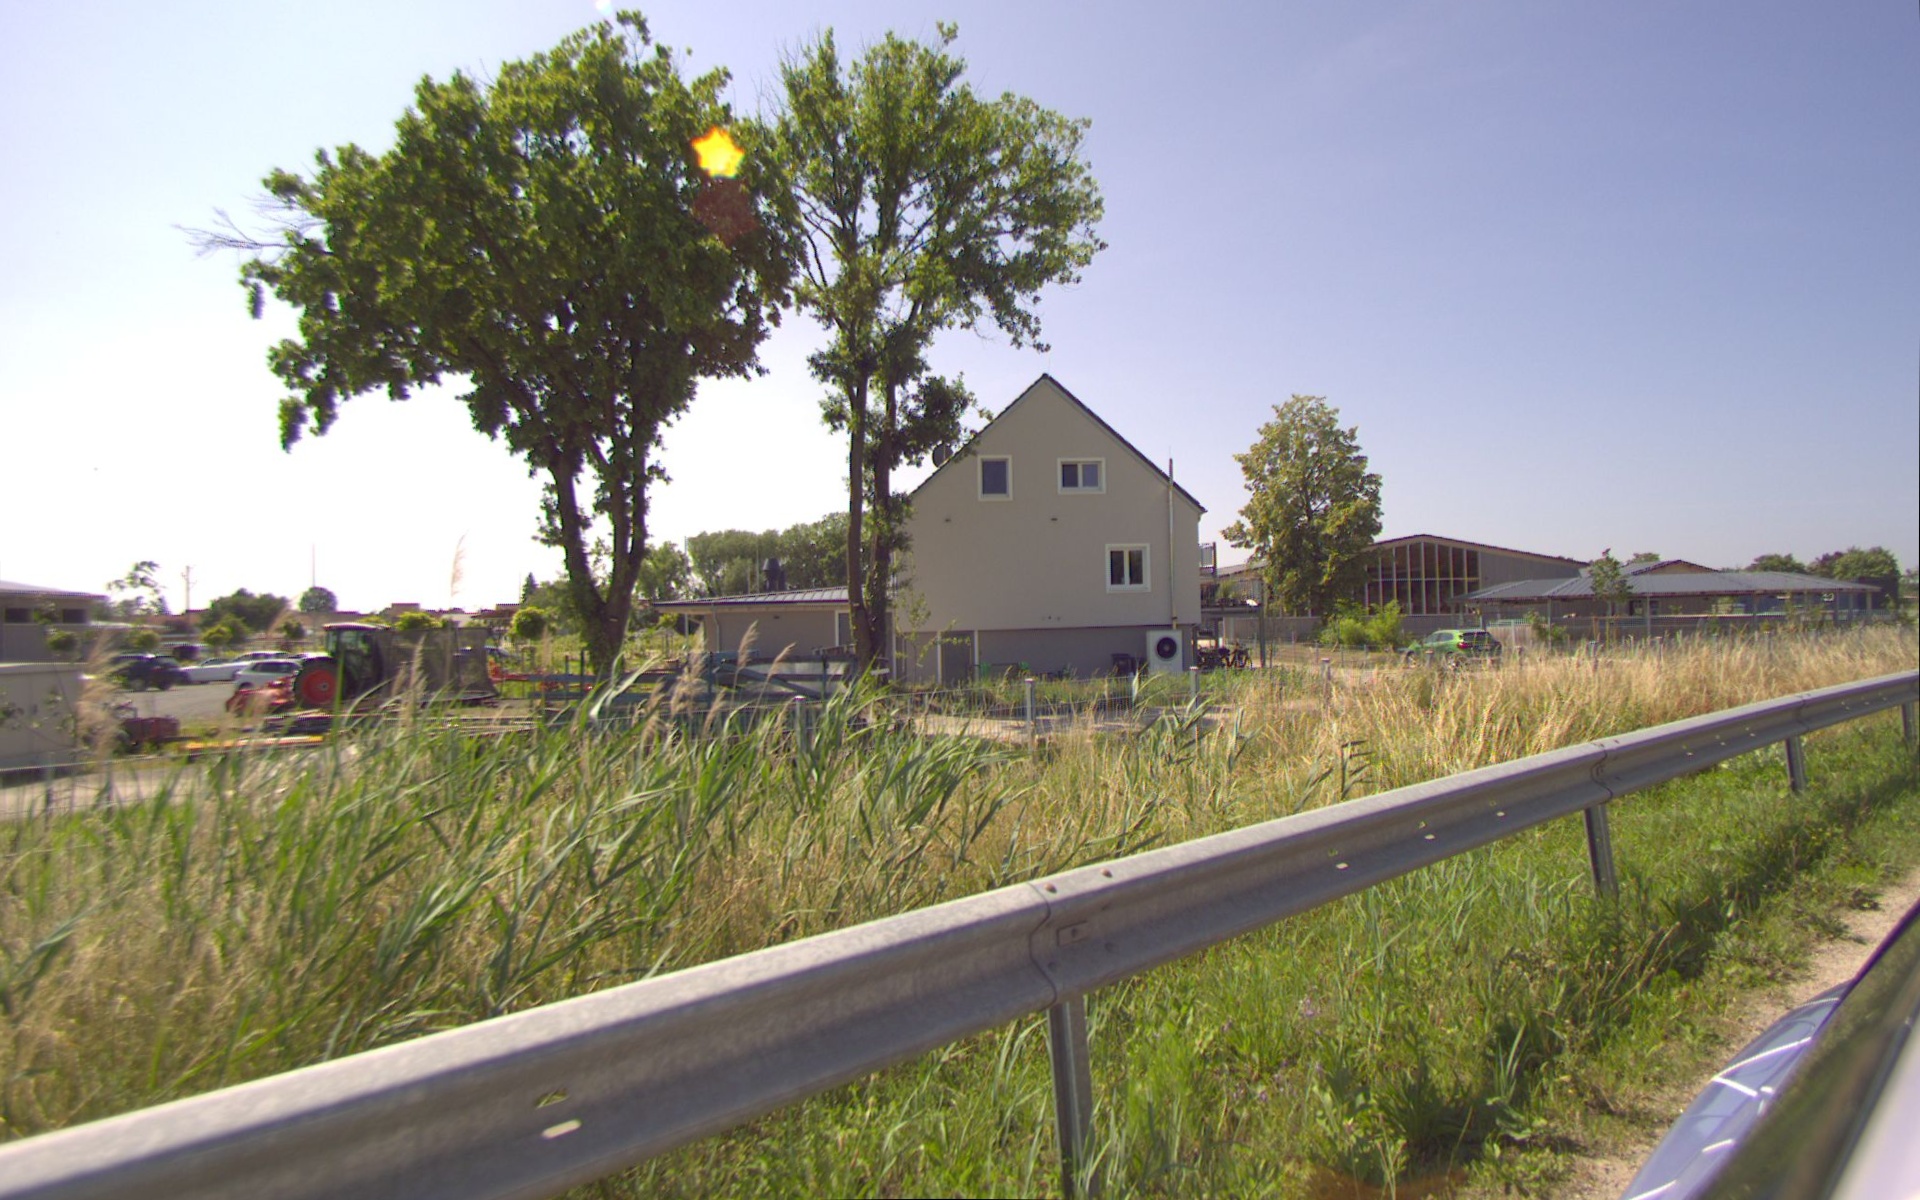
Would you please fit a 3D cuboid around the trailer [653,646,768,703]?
[{"bbox_3d":[-7.866,2.342,32.060,3.085,1.515,1.714,-4,-2,4],"label":"trailer"}]

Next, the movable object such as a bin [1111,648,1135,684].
[{"bbox_3d":[5.458,2.204,33.922,0.649,1.165,0.578,-1,-2,-1],"label":"movable object such as a bin"}]

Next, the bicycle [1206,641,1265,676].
[{"bbox_3d":[10.162,2.142,37.406,1.931,1.207,0.714,-2,-3,-2],"label":"bicycle"}]

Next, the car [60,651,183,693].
[{"bbox_3d":[-37.488,3.208,45.344,3.798,1.727,1.918,0,-2,-6],"label":"car"}]

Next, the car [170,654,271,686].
[{"bbox_3d":[-37.965,3.580,52.035,3.801,1.513,1.917,-1,-2,-2],"label":"car"}]

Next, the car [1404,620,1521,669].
[{"bbox_3d":[18.670,1.681,37.841,1.896,1.601,4.374,-4,-3,-3],"label":"car"}]

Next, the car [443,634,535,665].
[{"bbox_3d":[-26.915,2.831,57.969,4.369,1.595,2.002,-2,-1,-6],"label":"car"}]

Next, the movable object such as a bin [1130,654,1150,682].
[{"bbox_3d":[6.062,2.284,34.072,0.549,0.922,0.503,-1,-2,-1],"label":"movable object such as a bin"}]

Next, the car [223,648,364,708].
[{"bbox_3d":[-24.931,2.898,37.961,3.801,1.593,2.002,-7,1,-6],"label":"car"}]

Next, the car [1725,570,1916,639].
[{"bbox_3d":[50.003,0.389,59.274,2.724,3.700,9.002,-1,-2,-5],"label":"car"}]

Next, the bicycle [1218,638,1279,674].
[{"bbox_3d":[10.373,2.022,36.453,1.932,1.207,0.714,-2,-3,-1],"label":"bicycle"}]

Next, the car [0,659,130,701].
[{"bbox_3d":[-36.902,3.257,41.588,3.798,1.595,2.001,0,-2,-6],"label":"car"}]

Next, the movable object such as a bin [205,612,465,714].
[{"bbox_3d":[-19.331,1.920,31.787,6.368,2.806,3.016,-1,-3,-16],"label":"movable object such as a bin"}]
